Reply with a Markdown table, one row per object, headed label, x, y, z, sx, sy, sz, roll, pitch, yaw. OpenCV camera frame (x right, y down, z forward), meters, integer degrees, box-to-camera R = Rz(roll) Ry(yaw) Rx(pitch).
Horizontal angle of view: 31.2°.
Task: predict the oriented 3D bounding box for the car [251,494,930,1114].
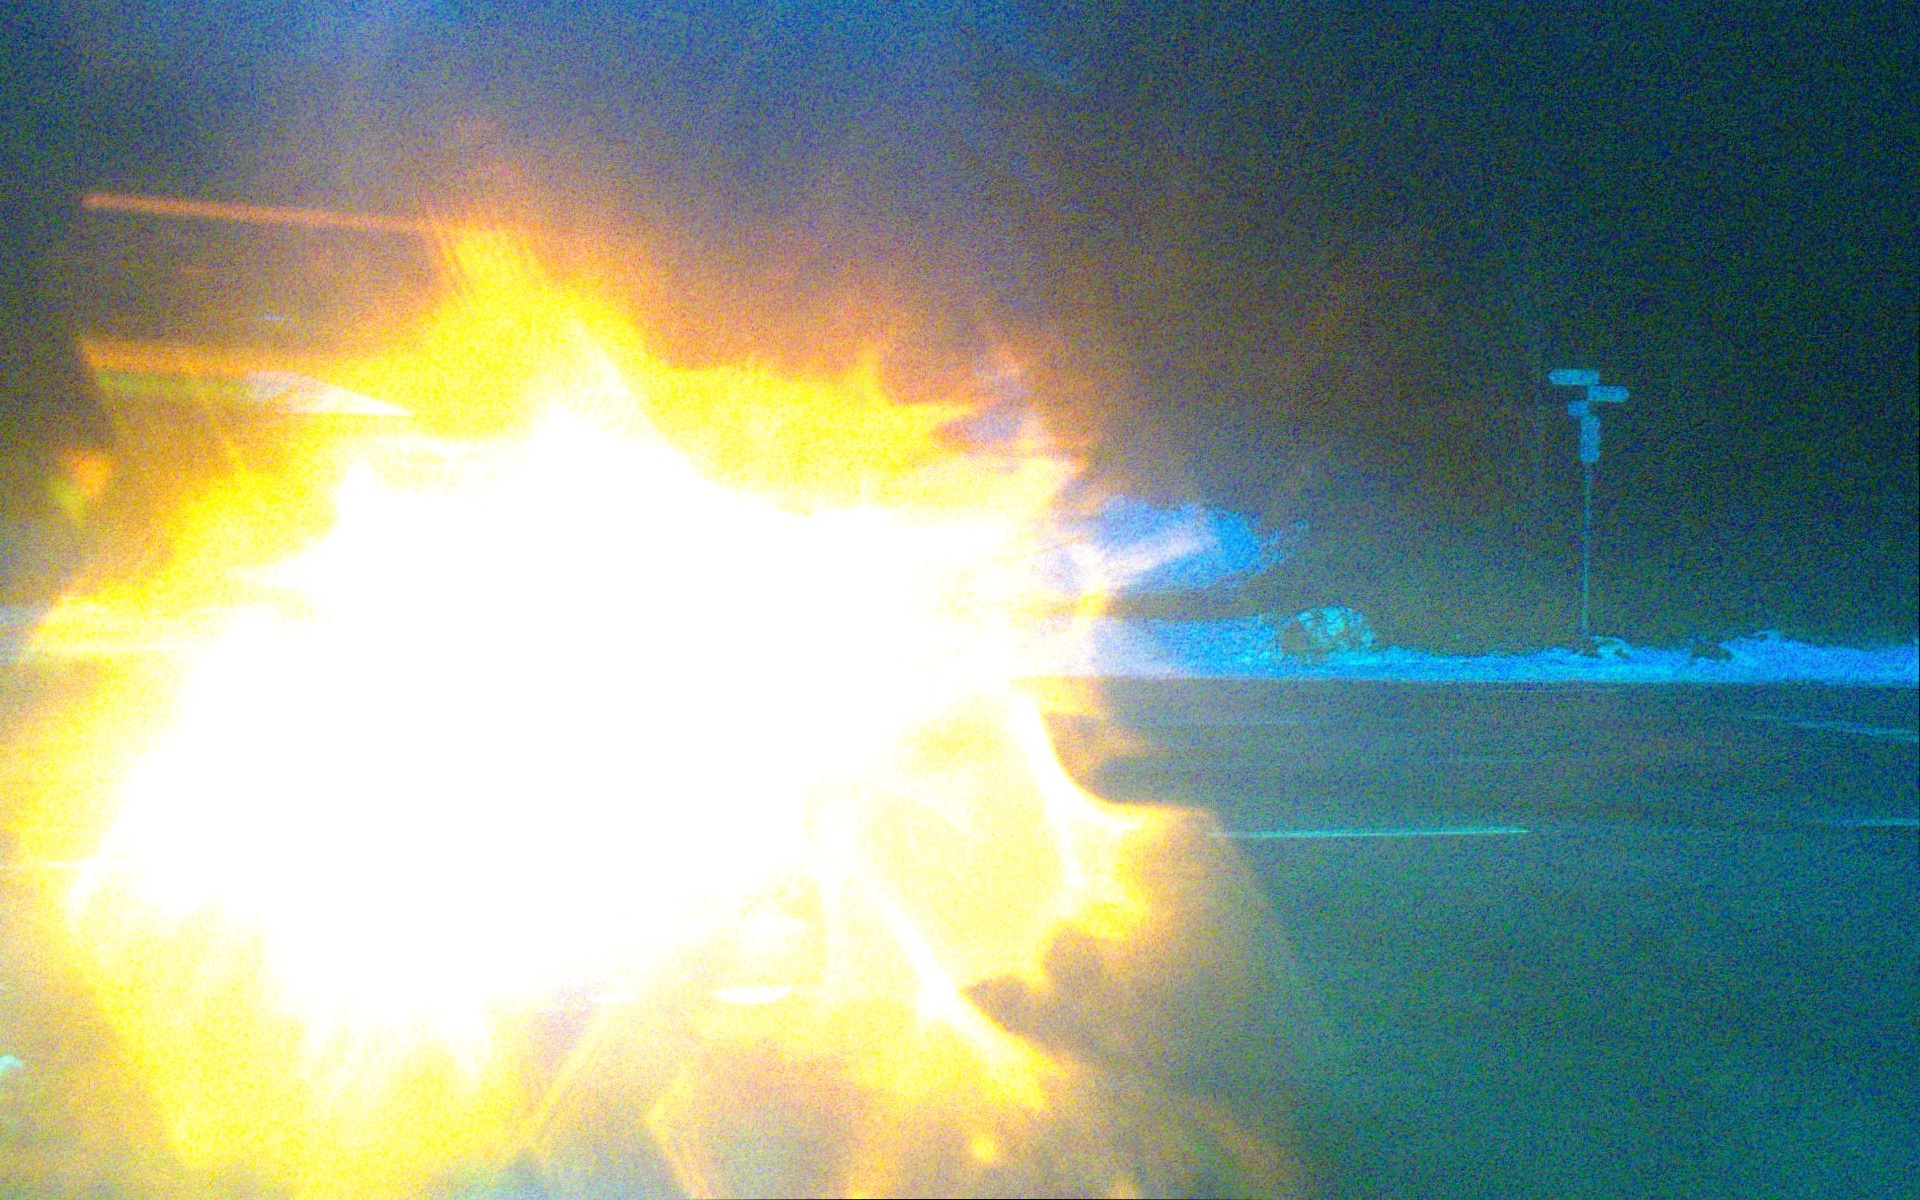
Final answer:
| label | x | y | z | sx | sy | sz | roll | pitch | yaw |
| --- | --- | --- | --- | --- | --- | --- | --- | --- | --- |
| car | -1.205 | 0.468 | 10.586 | 1.692 | 1.547 | 3.857 | 0 | 1 | -8 |

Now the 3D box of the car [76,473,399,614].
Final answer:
| label | x | y | z | sx | sy | sz | roll | pitch | yaw |
| --- | --- | --- | --- | --- | --- | --- | --- | --- | --- |
| car | -10.034 | -0.781 | 47.896 | 3.948 | 1.875 | 1.999 | 1 | 0 | 8 |

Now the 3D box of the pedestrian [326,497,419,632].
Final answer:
| label | x | y | z | sx | sy | sz | roll | pitch | yaw |
| --- | --- | --- | --- | --- | --- | --- | --- | --- | --- |
| pedestrian | -8.061 | -0.482 | 47.177 | 0.961 | 1.821 | 0.924 | 1 | 0 | 12 |
